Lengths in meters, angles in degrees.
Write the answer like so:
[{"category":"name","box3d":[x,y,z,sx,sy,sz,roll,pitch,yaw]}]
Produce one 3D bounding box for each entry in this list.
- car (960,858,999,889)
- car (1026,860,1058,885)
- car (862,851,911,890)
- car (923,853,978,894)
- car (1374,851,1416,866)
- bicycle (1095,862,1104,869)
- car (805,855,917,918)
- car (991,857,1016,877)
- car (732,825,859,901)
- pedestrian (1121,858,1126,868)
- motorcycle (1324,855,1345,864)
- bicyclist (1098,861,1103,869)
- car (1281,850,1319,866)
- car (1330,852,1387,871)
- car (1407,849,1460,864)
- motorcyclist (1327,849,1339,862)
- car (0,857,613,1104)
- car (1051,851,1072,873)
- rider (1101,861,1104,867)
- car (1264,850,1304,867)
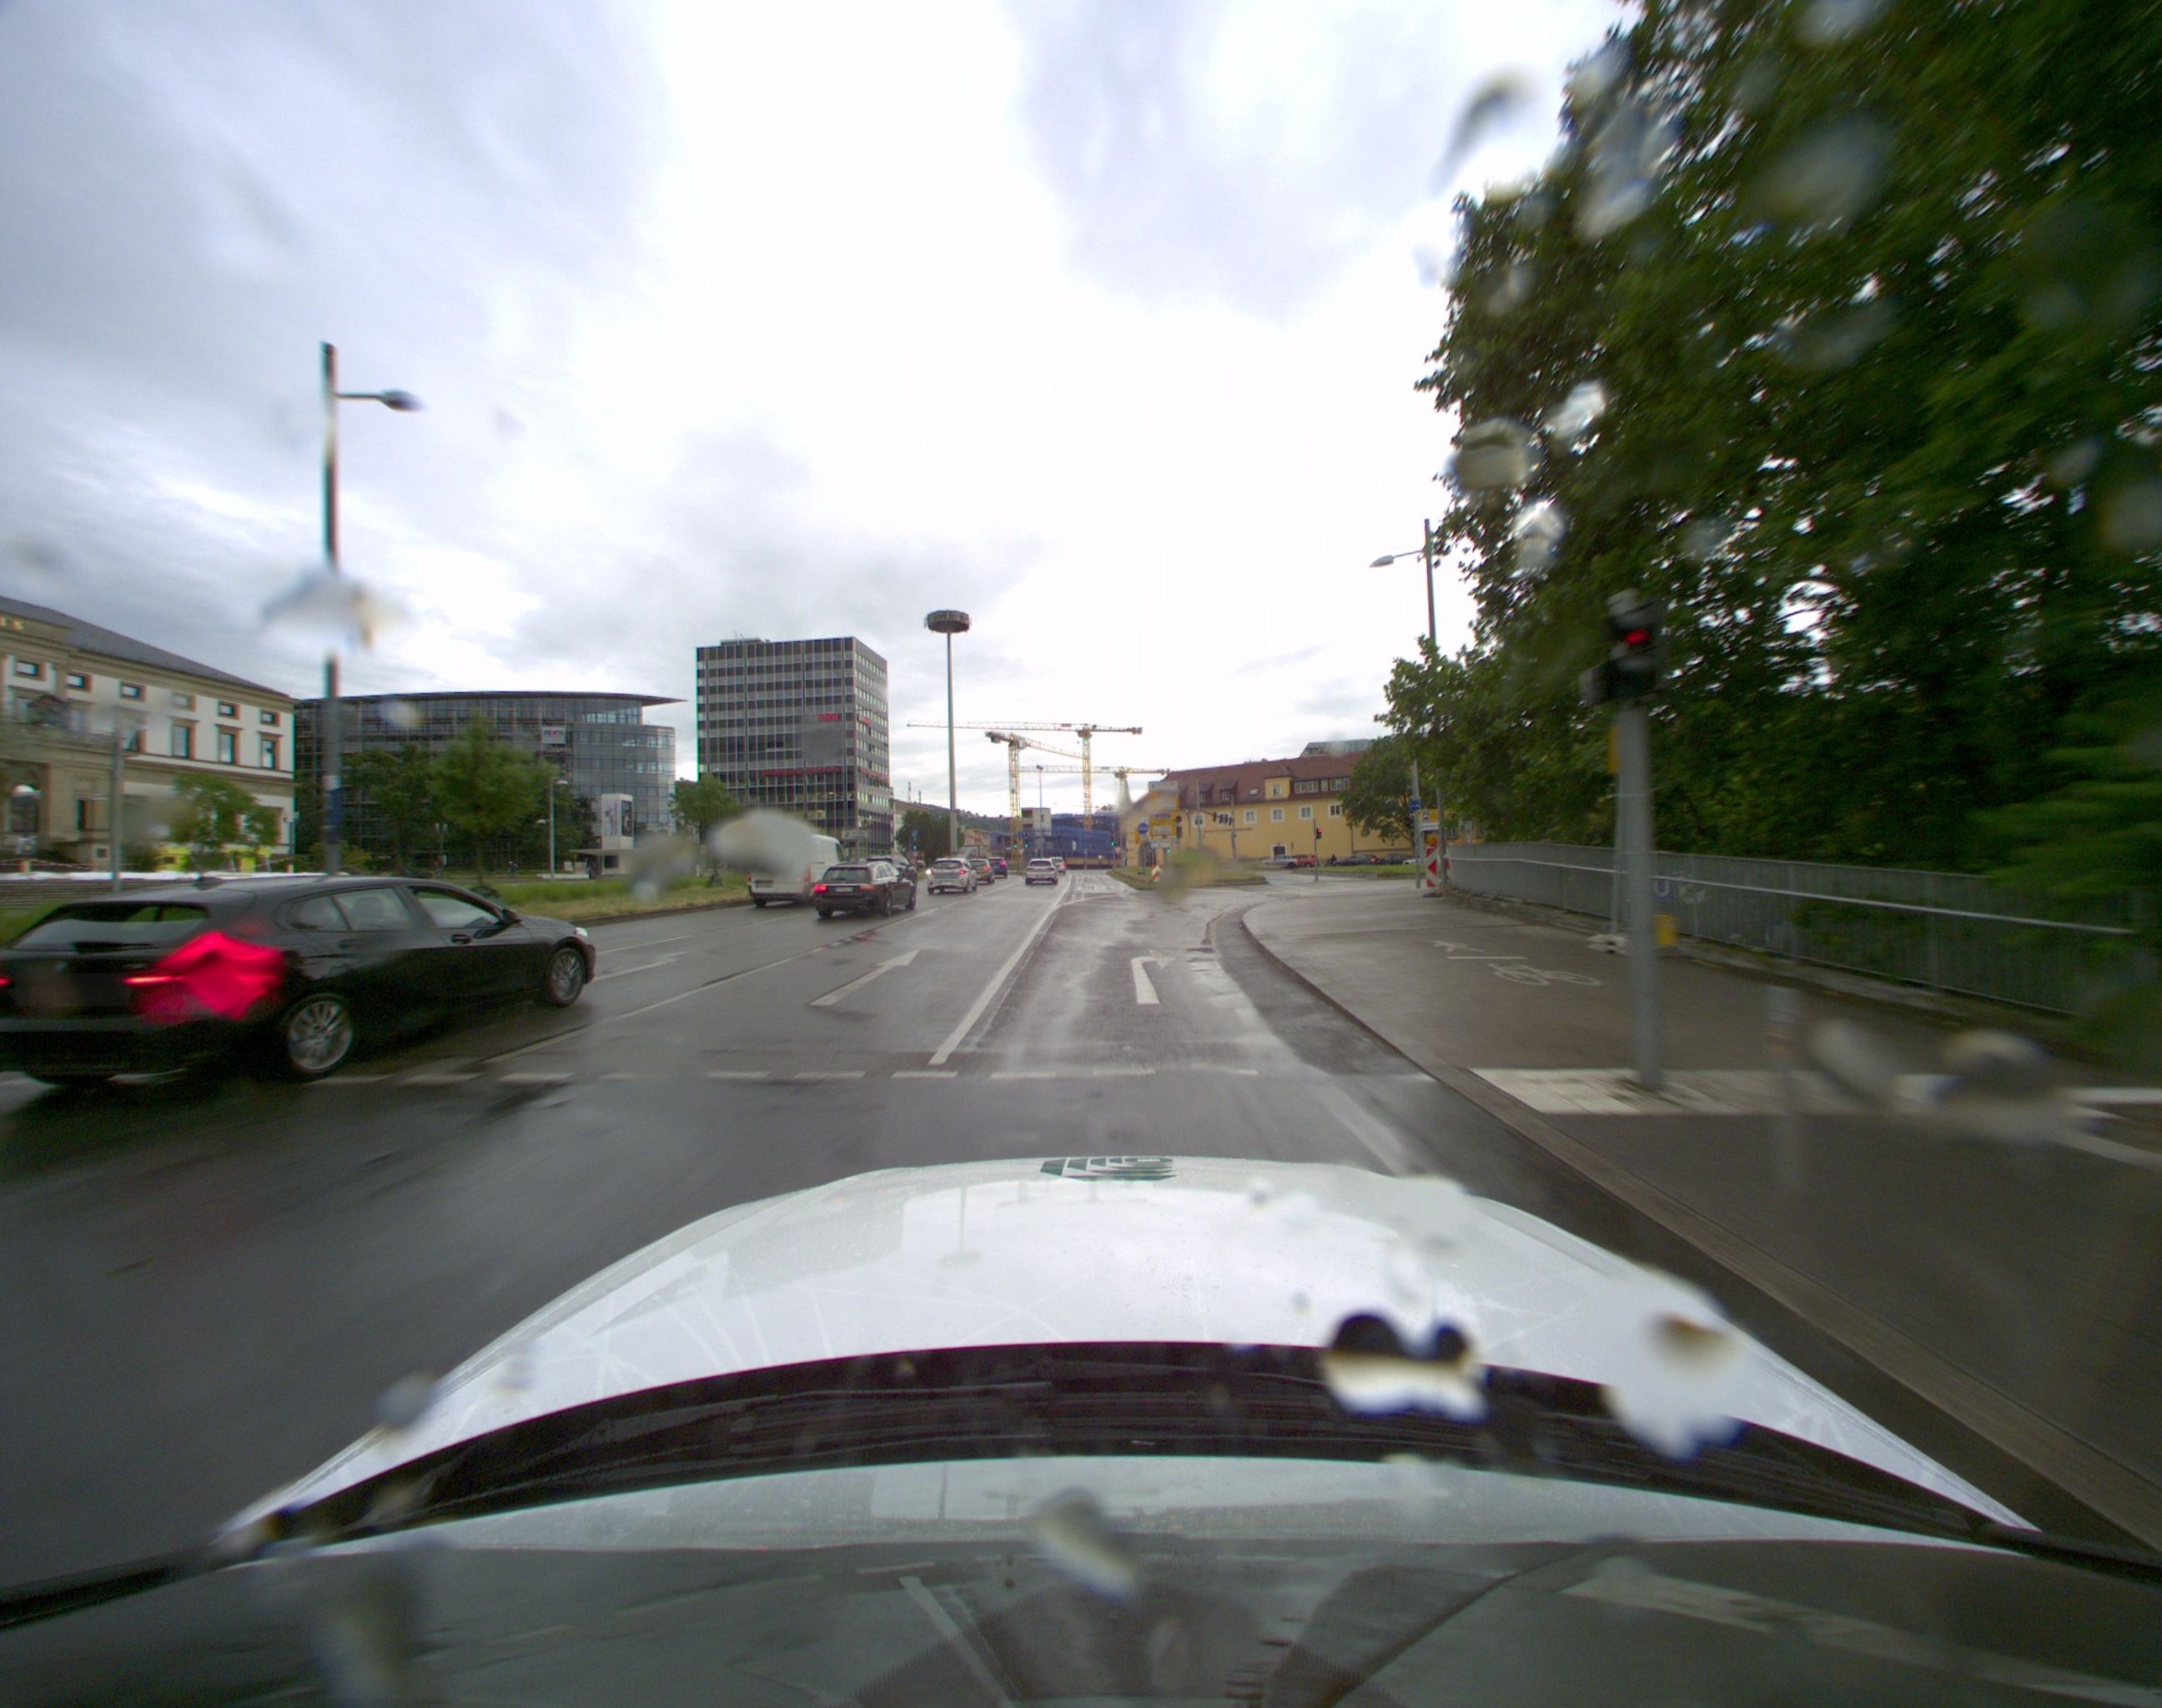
[{"category":"car","box3d":[-5.806,1.163,46.909,1.709,1.728,3.495,-1,-3,2]},{"category":"car","box3d":[-2.174,1.077,45.983,1.437,1.359,2.415,-1,-3,5]},{"category":"car","box3d":[-8.815,0.798,37.084,1.459,1.706,3.140,0,-3,0]},{"category":"car","box3d":[-5.562,0.867,35.078,1.875,1.653,3.455,0,-3,-1]},{"category":"car","box3d":[30.949,0.501,80.308,3.560,1.337,1.587,-2,-3,37]},{"category":"bicycle","box3d":[2.937,1.889,129.864,0.881,1.010,1.983,0,-3,-13]},{"category":"car","box3d":[-5.746,0.803,21.697,1.822,1.494,3.403,-1,0,4]},{"category":"car","box3d":[-5.791,1.002,61.050,1.488,1.370,3.034,-1,-3,2]},{"category":"car","box3d":[-9.388,0.381,27.370,2.283,2.314,5.008,-1,-3,2]},{"category":"pedestrian","box3d":[6.029,1.333,115.684,0.450,1.368,0.447,-3,-4,40]},{"category":"motorcycle","box3d":[26.038,0.525,83.608,1.946,0.853,0.549,-2,-3,24]},{"category":"bicyclist","box3d":[3.119,1.738,129.428,0.704,1.275,0.631,0,-3,-14]},{"category":"car","box3d":[22.184,0.426,82.486,3.368,1.472,1.662,-2,-3,26]},{"category":"car","box3d":[26.749,0.760,78.630,4.757,1.709,2.011,-3,-4,44]},{"category":"car","box3d":[31.893,0.240,73.873,1.546,1.140,4.335,1,-3,-31]},{"category":"motorcyclist","box3d":[25.867,0.163,83.544,1.066,1.273,0.695,-2,-3,23]},{"category":"car","box3d":[-6.152,0.787,7.022,1.747,1.471,4.222,-1,-1,1]},{"category":"car","box3d":[-1.603,0.669,68.617,1.661,1.741,3.288,0,0,1]},{"category":"rider","box3d":[3.729,1.689,141.994,0.616,1.038,0.534,-1,-3,4]},{"category":"car","box3d":[19.296,0.475,77.488,3.369,1.482,1.846,-2,-3,27]}]
